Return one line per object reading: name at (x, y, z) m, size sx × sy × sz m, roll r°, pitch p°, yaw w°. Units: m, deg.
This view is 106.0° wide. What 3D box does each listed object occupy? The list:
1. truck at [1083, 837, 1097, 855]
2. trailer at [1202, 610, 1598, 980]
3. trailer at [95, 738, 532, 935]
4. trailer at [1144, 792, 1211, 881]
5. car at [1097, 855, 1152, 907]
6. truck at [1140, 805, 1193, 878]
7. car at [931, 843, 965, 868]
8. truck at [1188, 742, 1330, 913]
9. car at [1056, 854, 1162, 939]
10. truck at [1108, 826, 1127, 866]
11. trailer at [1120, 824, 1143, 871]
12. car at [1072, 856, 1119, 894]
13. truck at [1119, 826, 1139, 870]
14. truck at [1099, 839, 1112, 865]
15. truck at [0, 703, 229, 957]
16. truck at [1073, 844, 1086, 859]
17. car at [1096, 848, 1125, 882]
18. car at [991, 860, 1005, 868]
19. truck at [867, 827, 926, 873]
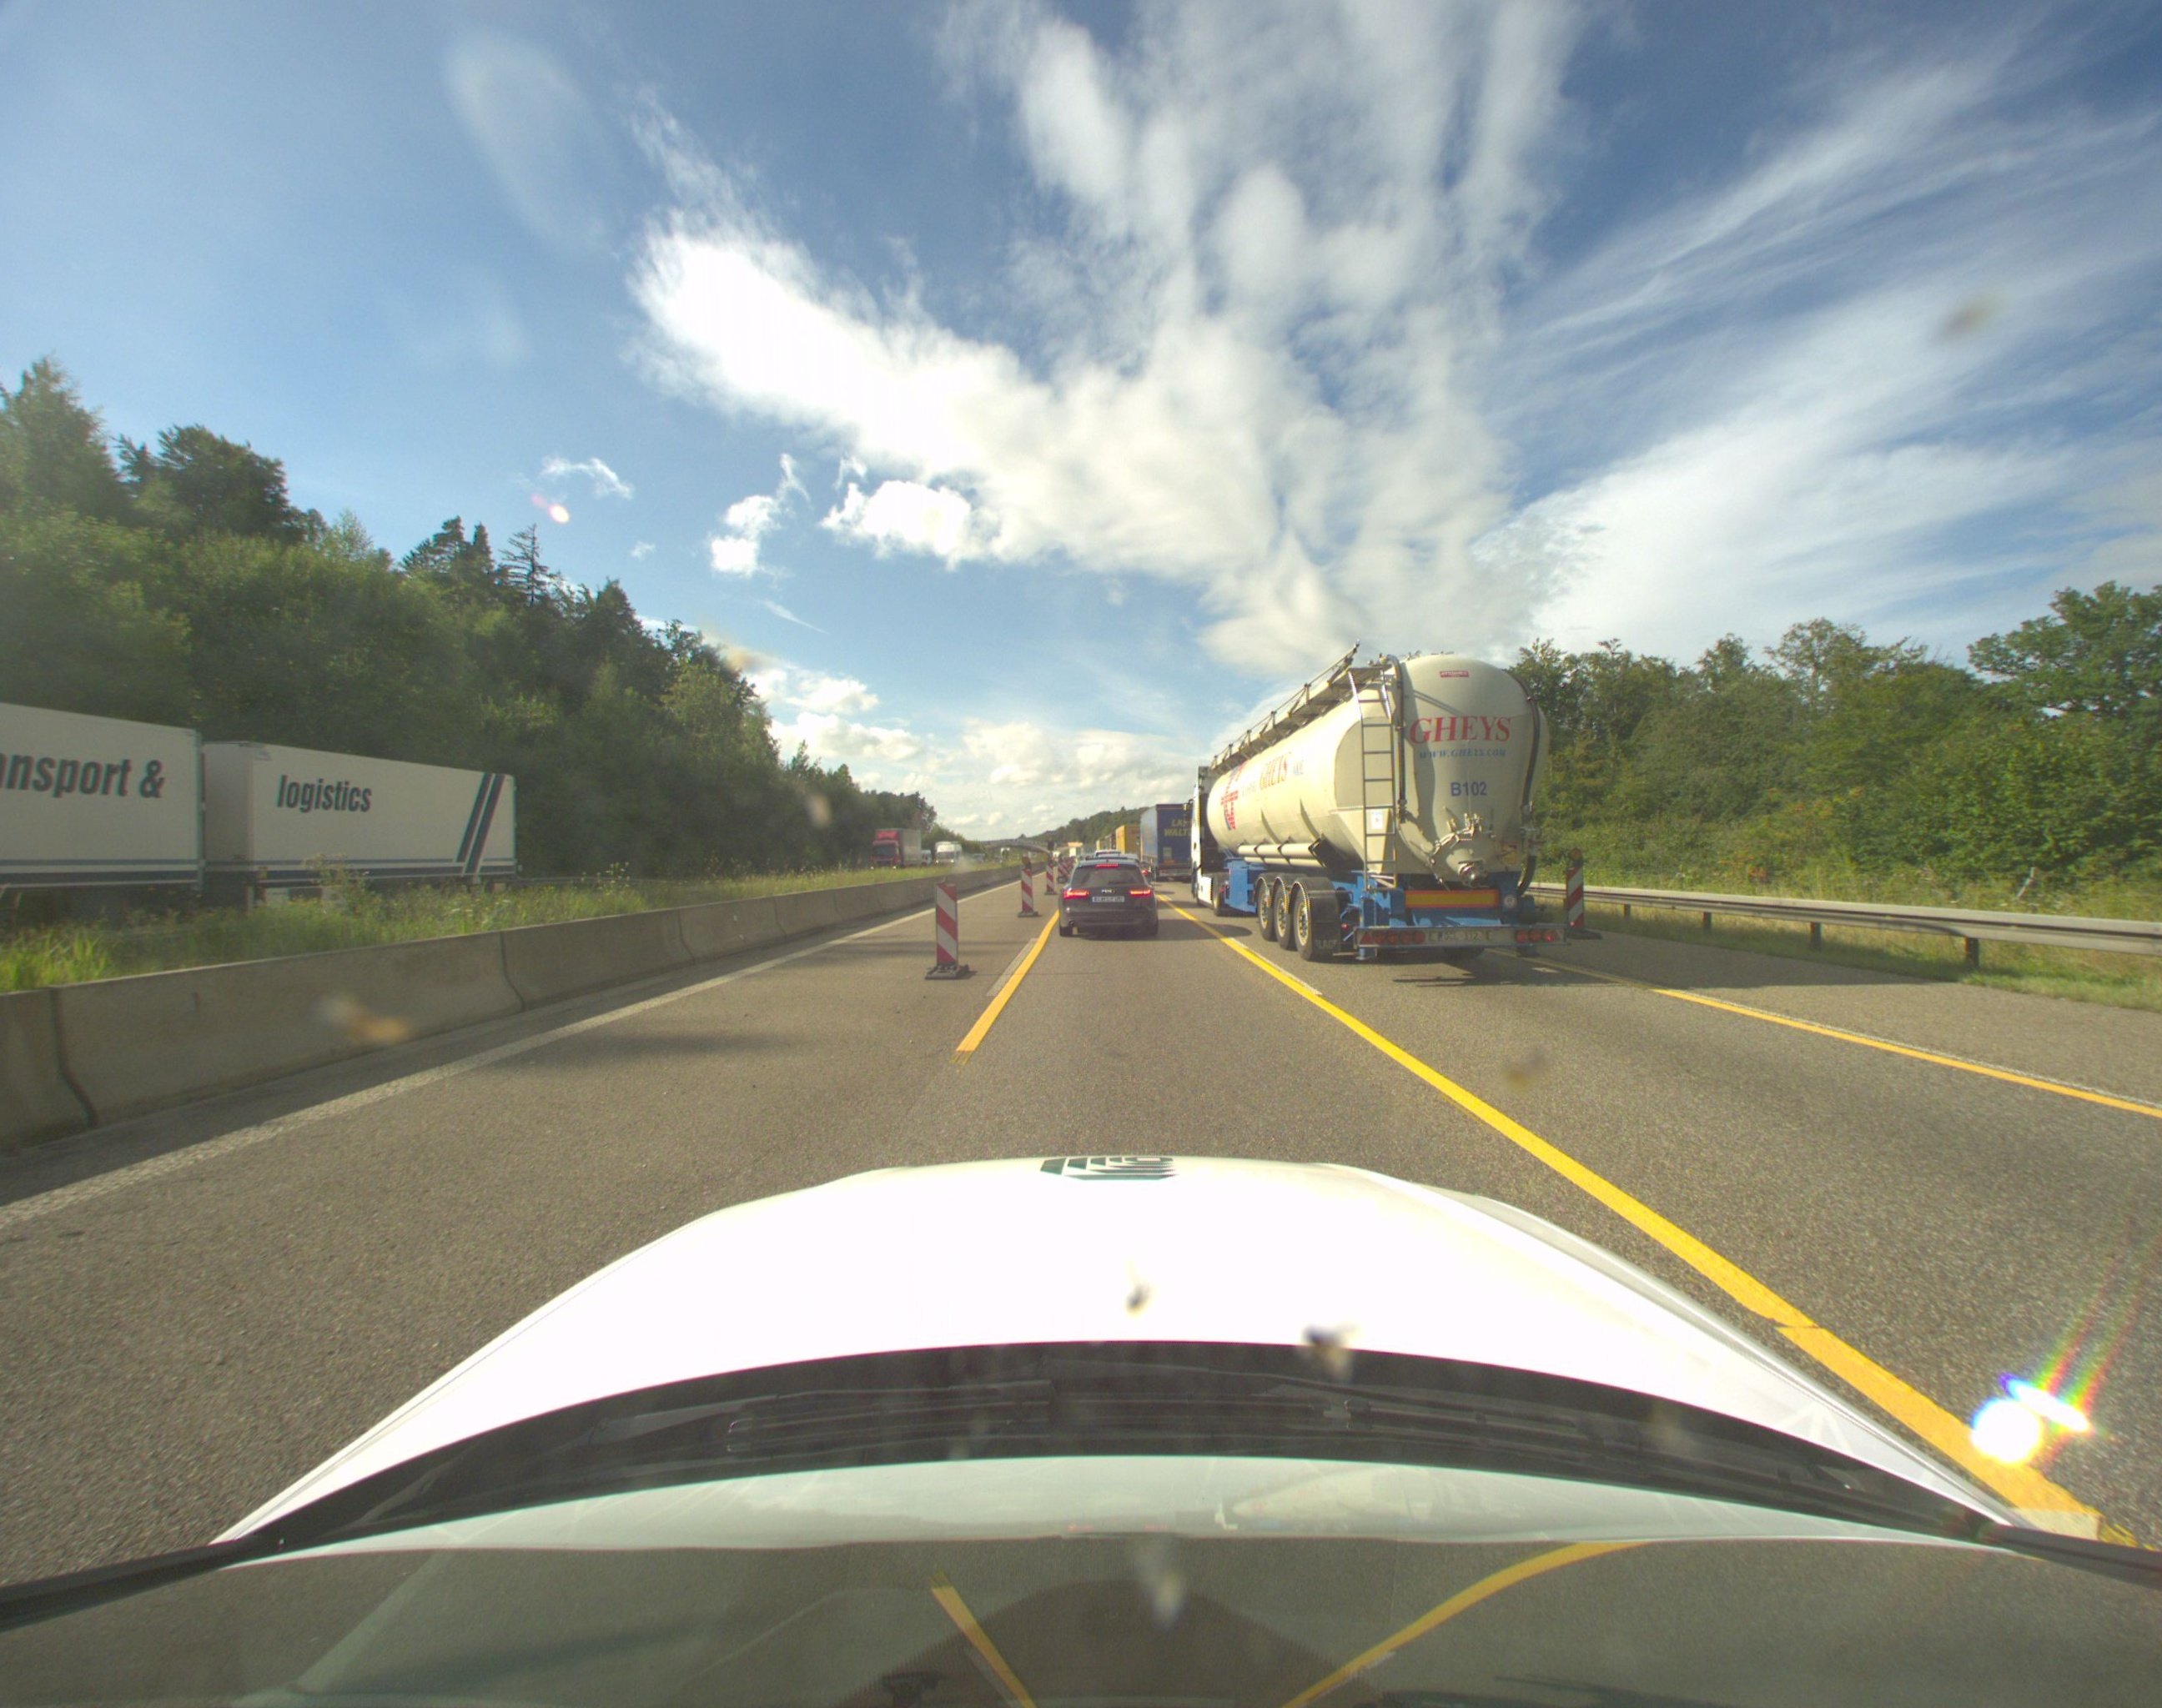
truck at (2.169, -1.827, 200.548) m, size 3.294 × 4.175 × 9.699 m, roll -1°, pitch 0°, yaw 0°
trailer at (4.341, -0.611, 15.007) m, size 2.634 × 3.943 × 12.601 m, roll 0°, pitch 0°, yaw 1°
trailer at (-18.182, -0.306, 20.505) m, size 2.781 × 3.923 × 8.490 m, roll 0°, pitch -1°, yaw 1°
trailer at (5.207, -0.817, 45.847) m, size 2.795 × 4.413 × 10.435 m, roll 0°, pitch -1°, yaw 1°
car at (1.248, 0.759, 24.353) m, size 1.518 × 1.439 × 3.286 m, roll 0°, pitch -1°, yaw 1°
truck at (5.399, -0.715, 52.807) m, size 2.796 × 4.370 × 7.793 m, roll 0°, pitch -1°, yaw 1°
car at (-13.267, 0.149, 81.747) m, size 2.152 × 2.451 × 6.334 m, roll -1°, pitch 0°, yaw 2°
truck at (4.525, -0.597, 21.869) m, size 2.649 × 3.972 × 5.780 m, roll 0°, pitch -1°, yaw 1°
car at (0.542, 0.770, 16.300) m, size 1.842 × 1.463 × 4.001 m, roll -1°, pitch -1°, yaw 1°
truck at (4.616, -0.991, 104.347) m, size 1.987 × 4.914 × 9.561 m, roll 0°, pitch 0°, yaw 0°
trailer at (4.379, -0.506, 71.283) m, size 1.611 × 3.918 × 6.489 m, roll 0°, pitch -1°, yaw 1°
car at (0.595, 0.813, 32.579) m, size 1.745 × 1.397 × 3.609 m, roll 0°, pitch -1°, yaw 1°
truck at (4.415, -0.516, 74.989) m, size 1.604 × 3.897 × 4.072 m, roll 0°, pitch -1°, yaw 1°
truck at (4.127, -0.308, 137.703) m, size 2.130 × 4.257 × 7.072 m, roll 0°, pitch -1°, yaw 1°
truck at (-18.373, -0.390, 10.676) m, size 2.772 × 3.985 × 10.864 m, roll 0°, pitch -1°, yaw 1°
truck at (-0.399, -0.596, 231.001) m, size 3.295 × 4.175 × 9.695 m, roll -1°, pitch 0°, yaw -2°
car at (1.680, 0.620, 46.206) m, size 1.575 × 1.837 × 3.112 m, roll 0°, pitch -1°, yaw 1°
car at (-13.968, 1.657, 137.277) m, size 1.772 × 1.387 × 4.312 m, roll 0°, pitch -1°, yaw 2°
truck at (-16.723, -0.342, 74.810) m, size 2.790 × 3.992 × 10.189 m, roll 0°, pitch 0°, yaw 2°
